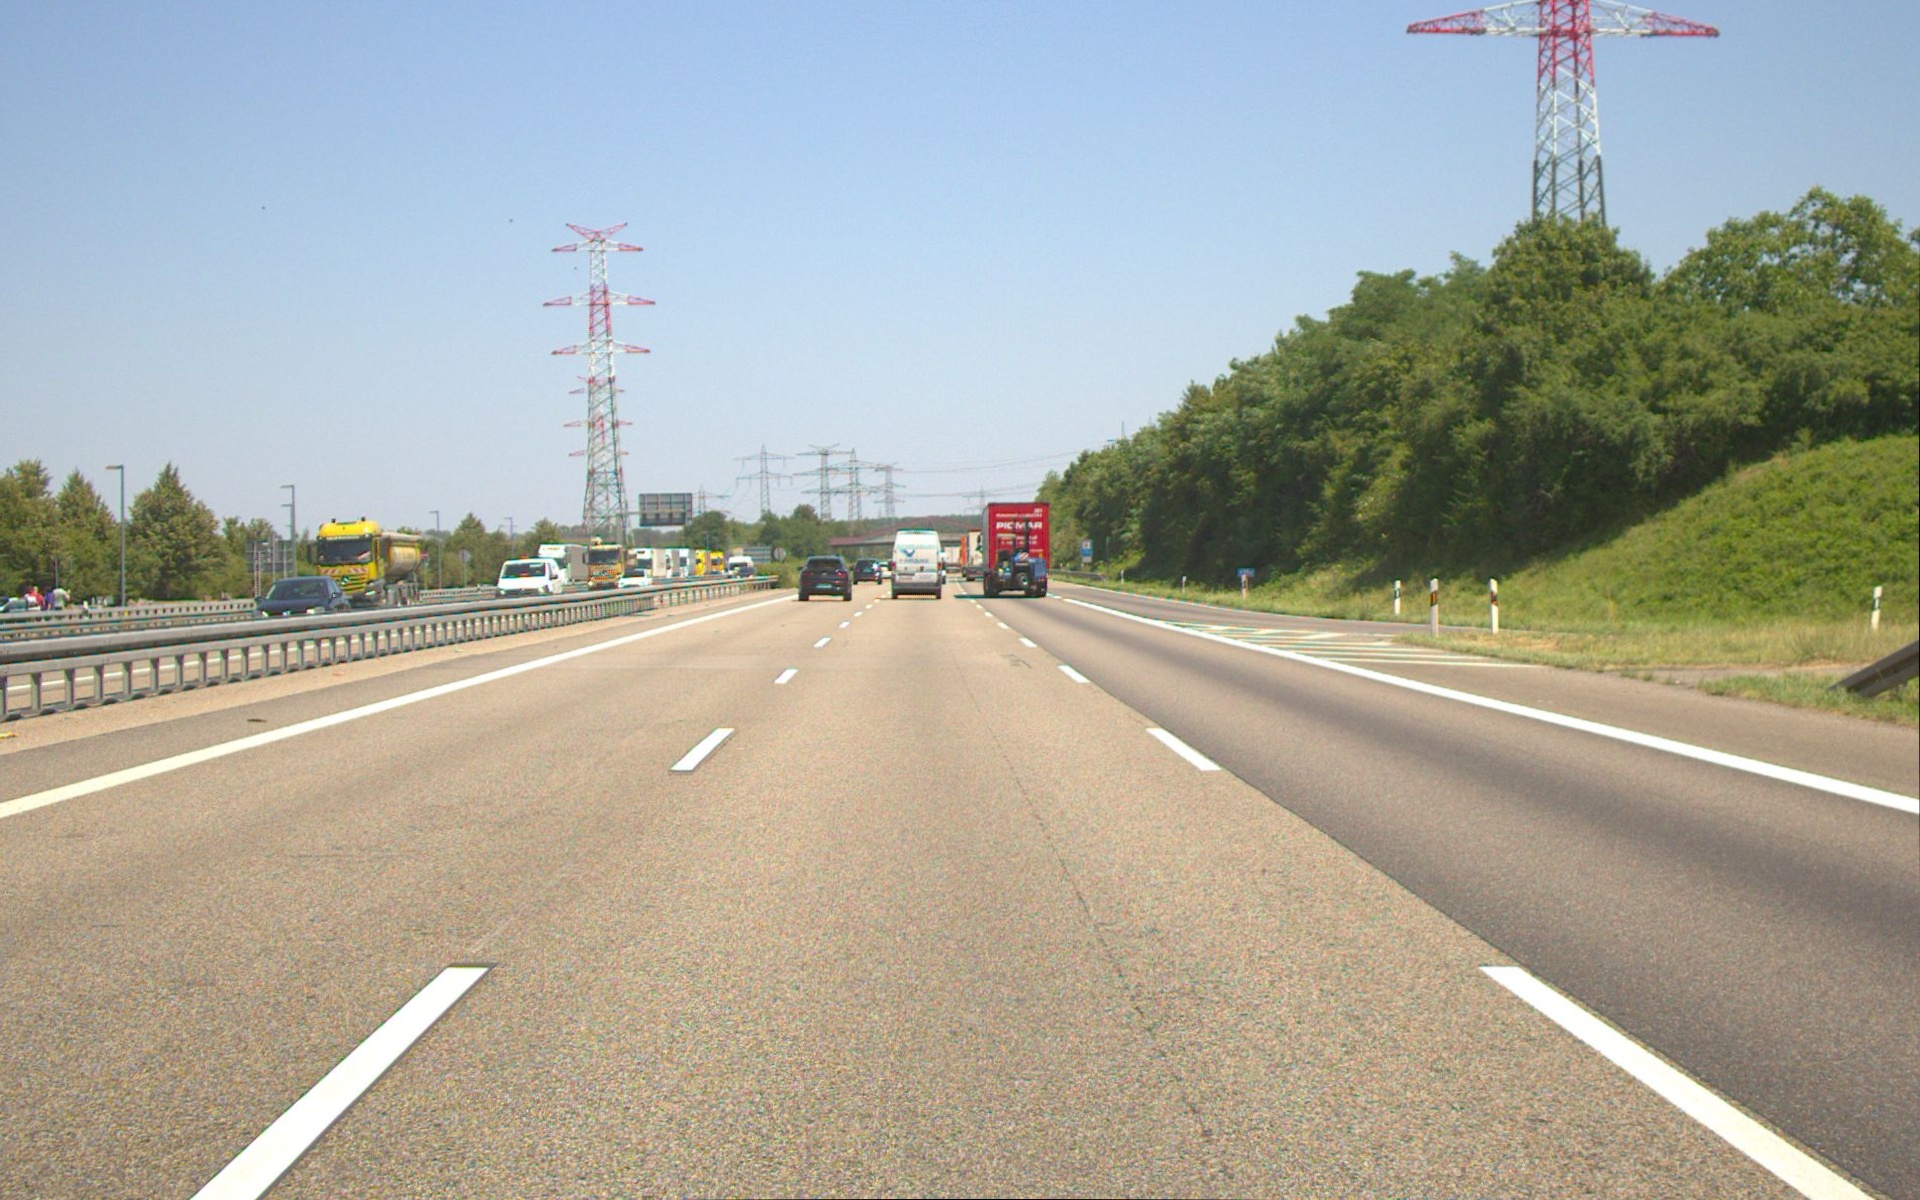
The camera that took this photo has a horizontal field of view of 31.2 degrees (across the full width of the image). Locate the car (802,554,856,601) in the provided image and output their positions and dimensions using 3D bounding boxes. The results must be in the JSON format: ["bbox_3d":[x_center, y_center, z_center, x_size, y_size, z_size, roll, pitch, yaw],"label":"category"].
[{"bbox_3d":[-5.004,-0.885,131.443,1.993,1.744,4.000,0,1,-1],"label":"car"}]

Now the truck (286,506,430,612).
[{"bbox_3d":[-22.910,-1.596,131.576,3.171,3.797,13.531,-1,1,0],"label":"truck"}]

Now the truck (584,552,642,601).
[{"bbox_3d":[-23.727,-1.630,235.492,2.717,3.248,12.388,-1,1,0],"label":"truck"}]

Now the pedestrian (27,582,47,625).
[{"bbox_3d":[-30.535,0.108,113.772,0.498,1.417,0.500,0,1,-34],"label":"pedestrian"}]

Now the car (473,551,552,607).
[{"bbox_3d":[-15.430,-0.736,118.815,2.052,1.836,5.943,-1,1,-1],"label":"car"}]

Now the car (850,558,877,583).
[{"bbox_3d":[-6.454,-1.974,230.419,1.747,1.628,4.004,0,1,-1],"label":"car"}]

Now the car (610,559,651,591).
[{"bbox_3d":[-19.827,-1.527,206.961,2.052,1.836,5.473,-1,1,-1],"label":"car"}]

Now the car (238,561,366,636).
[{"bbox_3d":[-15.185,-0.053,79.567,2.052,1.546,4.891,-3,1,-1],"label":"car"}]

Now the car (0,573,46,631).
[{"bbox_3d":[-31.766,0.071,112.974,2.052,1.836,5.473,-1,1,-1],"label":"car"}]

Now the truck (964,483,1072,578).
[{"bbox_3d":[2.415,-3.042,151.046,4.331,3.928,16.078,0,1,0],"label":"truck"}]

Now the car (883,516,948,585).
[{"bbox_3d":[-1.842,-2.048,141.537,2.621,2.749,6.097,0,1,-1],"label":"car"}]
